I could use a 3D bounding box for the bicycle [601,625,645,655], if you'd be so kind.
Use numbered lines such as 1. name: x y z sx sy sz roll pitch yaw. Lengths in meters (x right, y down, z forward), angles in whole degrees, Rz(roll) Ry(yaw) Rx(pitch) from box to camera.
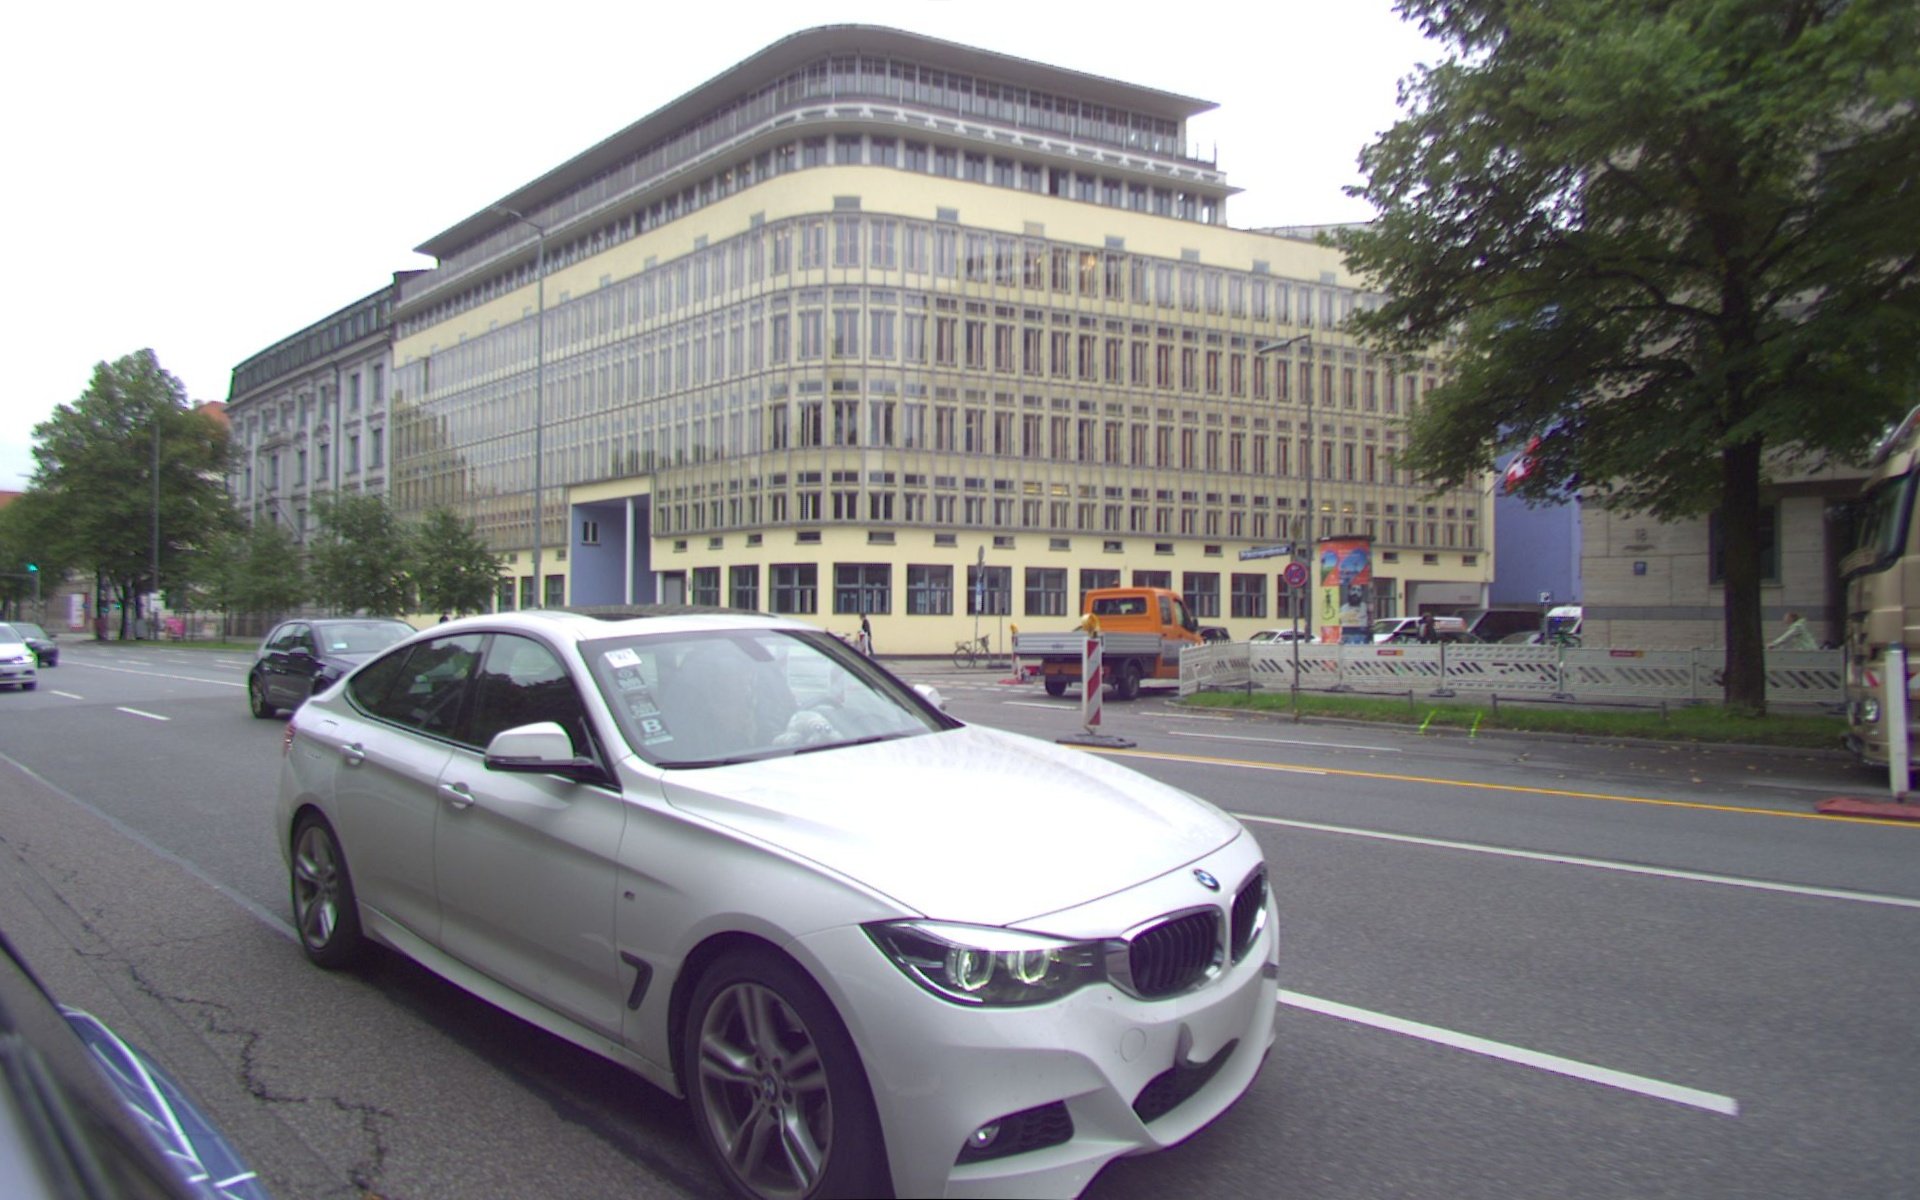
1. bicycle: -15.516 1.828 46.674 0.573 1.328 1.991 -1 -1 34

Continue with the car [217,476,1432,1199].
1. car: -1.080 0.667 3.945 5.022 1.649 1.774 -1 -2 40

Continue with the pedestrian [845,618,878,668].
1. pedestrian: -3.536 1.524 36.326 0.978 1.746 0.817 -1 -1 -19

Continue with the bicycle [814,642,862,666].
1. bicycle: -4.490 1.984 37.225 1.709 0.884 0.587 0 -2 -8

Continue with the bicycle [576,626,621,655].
1. bicycle: -17.042 1.895 47.762 0.637 1.328 1.991 -1 -1 34

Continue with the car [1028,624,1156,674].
1. car: 4.856 1.769 37.253 4.254 1.763 1.876 1 -2 -21

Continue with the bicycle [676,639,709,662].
1. bicycle: -10.921 2.047 41.244 1.737 0.884 0.471 -2 -2 44

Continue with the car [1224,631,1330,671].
1. car: 12.533 1.979 40.027 3.896 1.509 1.494 1 -2 -22

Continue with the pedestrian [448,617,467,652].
1. pedestrian: -26.364 1.786 53.047 0.835 1.790 0.609 -1 -1 41

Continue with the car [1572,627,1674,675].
1. car: 23.678 1.789 36.154 3.128 1.677 1.494 1 -2 -22

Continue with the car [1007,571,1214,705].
1. car: 3.460 0.798 22.178 2.152 2.556 5.629 -1 -2 36

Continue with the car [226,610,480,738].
1. car: -8.575 0.934 14.144 4.334 1.528 1.674 -1 -2 39

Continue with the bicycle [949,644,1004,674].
1. bicycle: 0.568 2.059 35.321 1.816 1.029 0.587 0 -2 -8

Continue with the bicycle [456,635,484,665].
1. bicycle: -17.522 1.784 36.194 1.382 1.020 0.278 -1 -1 37

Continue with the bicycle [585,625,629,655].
1. bicycle: -16.510 1.880 47.405 0.573 1.328 1.991 -1 -1 34

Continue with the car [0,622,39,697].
1. car: -20.672 1.184 20.971 4.271 1.458 1.774 -1 -2 40

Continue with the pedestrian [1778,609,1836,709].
1. pedestrian: 15.236 1.034 18.210 0.764 1.745 0.572 -1 -1 41

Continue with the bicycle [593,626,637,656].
1. bicycle: -16.011 1.890 47.014 0.573 1.328 1.991 -1 -1 34

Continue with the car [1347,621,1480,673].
1. car: 17.700 1.804 39.481 4.984 1.924 1.758 1 -2 -22

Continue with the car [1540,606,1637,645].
1. car: 29.119 1.182 46.897 3.930 1.763 1.876 1 -2 -24

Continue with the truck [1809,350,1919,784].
1. truck: 11.930 -0.348 8.047 7.651 3.803 2.890 -1 -1 36

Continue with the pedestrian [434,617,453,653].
1. pedestrian: -26.805 1.808 52.498 0.835 1.790 0.609 -1 -1 41
